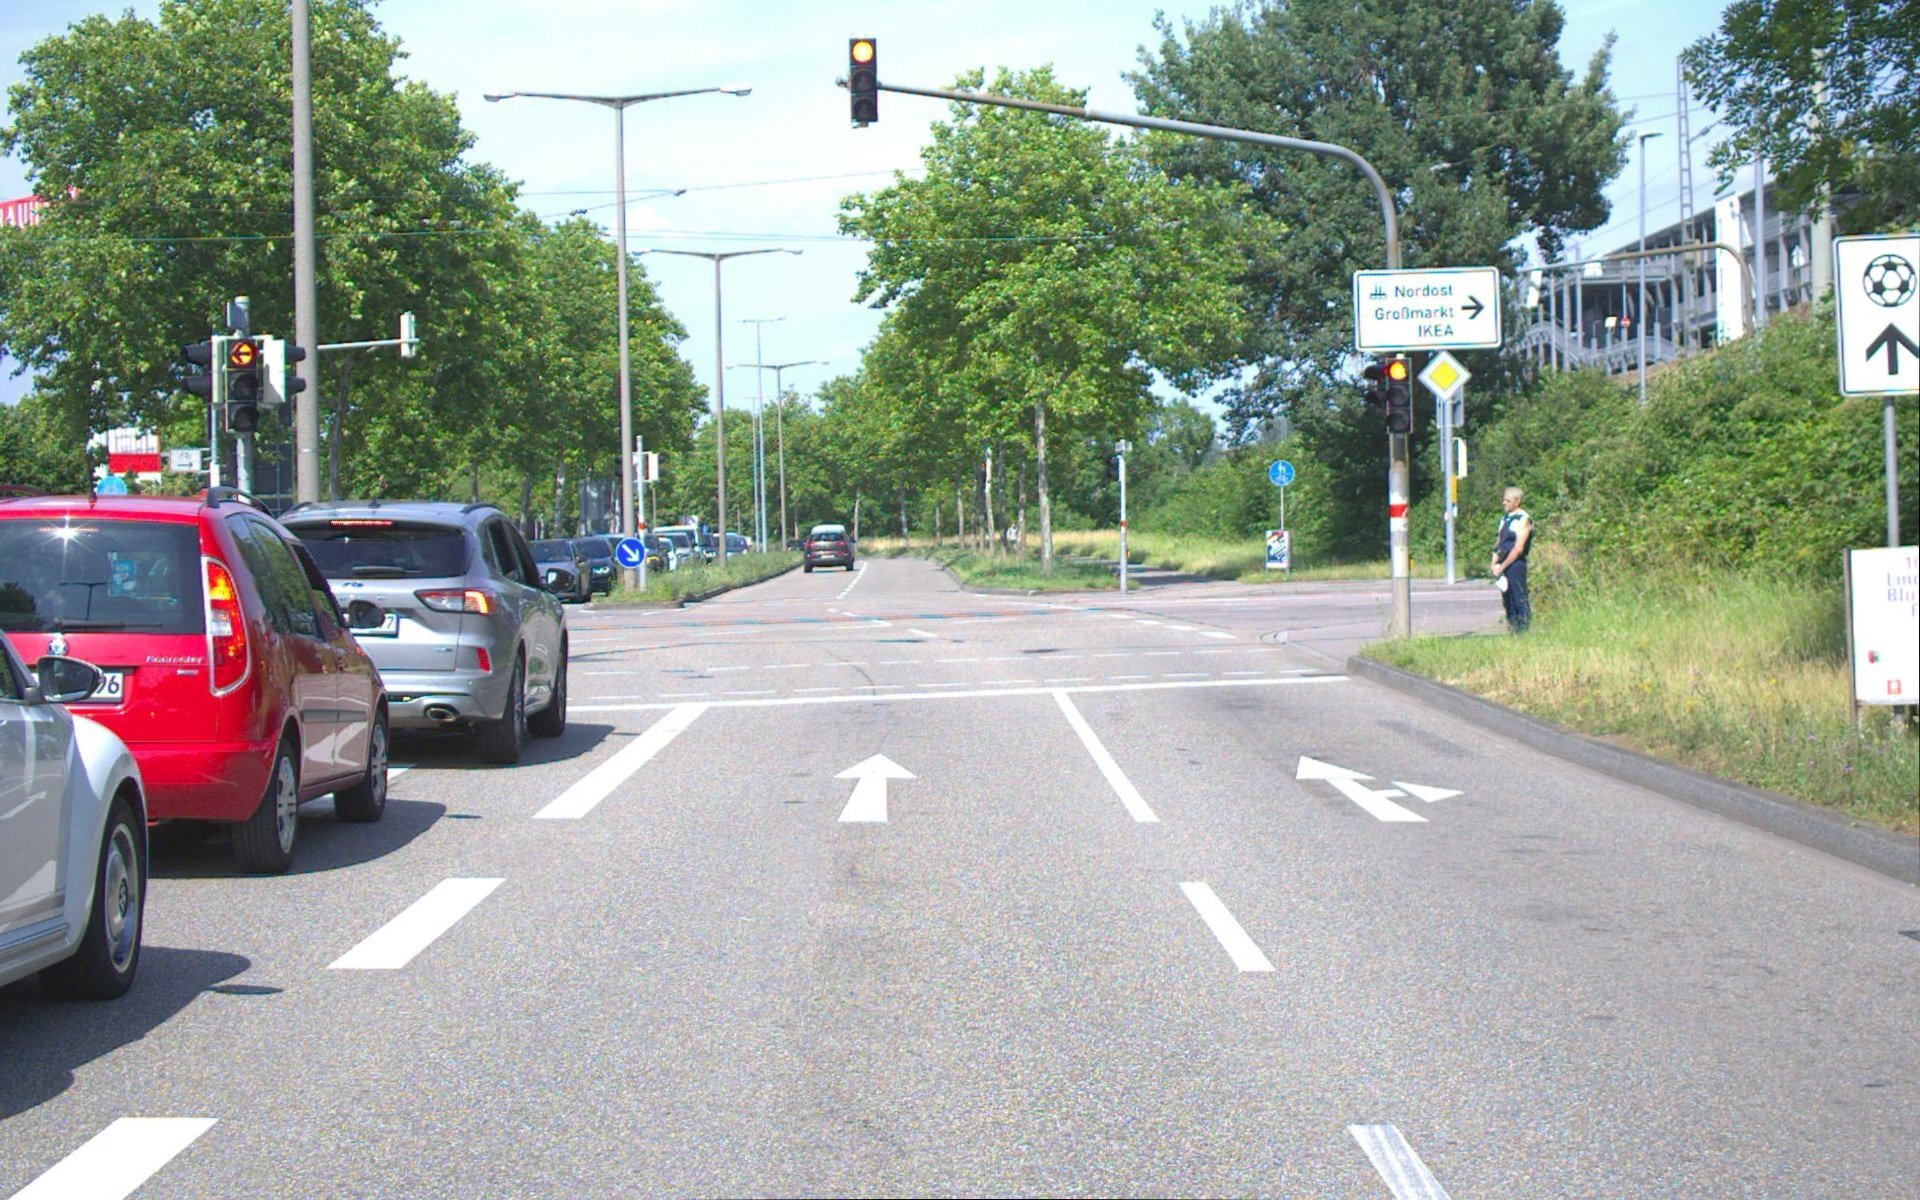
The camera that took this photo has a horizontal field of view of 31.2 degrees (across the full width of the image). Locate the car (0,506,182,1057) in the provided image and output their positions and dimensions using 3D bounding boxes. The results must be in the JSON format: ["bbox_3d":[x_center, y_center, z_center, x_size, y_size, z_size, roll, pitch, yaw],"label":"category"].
[{"bbox_3d":[-3.450,0.475,9.413,1.766,1.474,4.136,0,1,-1],"label":"car"}]

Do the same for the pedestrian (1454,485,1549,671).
[{"bbox_3d":[5.737,-0.240,36.435,0.837,1.926,0.772,-1,3,-4],"label":"pedestrian"}]

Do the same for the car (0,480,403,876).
[{"bbox_3d":[-3.690,0.310,15.908,1.628,1.590,3.918,-1,0,-1],"label":"car"}]

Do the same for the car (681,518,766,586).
[{"bbox_3d":[-6.120,-1.275,89.326,1.993,1.690,4.000,-1,1,-1],"label":"car"}]

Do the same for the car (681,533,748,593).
[{"bbox_3d":[-8.090,-1.254,113.557,1.993,1.889,4.376,-1,1,-1],"label":"car"}]

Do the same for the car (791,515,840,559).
[{"bbox_3d":[-5.533,-2.444,132.295,1.736,1.530,4.001,0,3,0],"label":"car"}]

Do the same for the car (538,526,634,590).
[{"bbox_3d":[-9.207,-1.059,84.862,1.993,1.495,4.000,-1,1,-1],"label":"car"}]

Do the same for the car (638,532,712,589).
[{"bbox_3d":[-8.370,-1.186,101.234,1.903,1.590,4.000,-1,1,-1],"label":"car"}]

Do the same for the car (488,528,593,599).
[{"bbox_3d":[-9.350,-0.837,76.869,1.918,1.508,4.000,-1,1,-1],"label":"car"}]

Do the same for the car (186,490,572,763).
[{"bbox_3d":[-3.695,0.114,22.567,1.881,1.612,4.213,0,1,-1],"label":"car"}]

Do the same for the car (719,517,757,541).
[{"bbox_3d":[-16.264,-5.190,251.824,1.865,1.689,4.411,-1,1,-17],"label":"car"}]

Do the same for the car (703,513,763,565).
[{"bbox_3d":[-8.524,-2.302,129.405,1.993,1.889,4.376,-1,1,-1],"label":"car"}]
